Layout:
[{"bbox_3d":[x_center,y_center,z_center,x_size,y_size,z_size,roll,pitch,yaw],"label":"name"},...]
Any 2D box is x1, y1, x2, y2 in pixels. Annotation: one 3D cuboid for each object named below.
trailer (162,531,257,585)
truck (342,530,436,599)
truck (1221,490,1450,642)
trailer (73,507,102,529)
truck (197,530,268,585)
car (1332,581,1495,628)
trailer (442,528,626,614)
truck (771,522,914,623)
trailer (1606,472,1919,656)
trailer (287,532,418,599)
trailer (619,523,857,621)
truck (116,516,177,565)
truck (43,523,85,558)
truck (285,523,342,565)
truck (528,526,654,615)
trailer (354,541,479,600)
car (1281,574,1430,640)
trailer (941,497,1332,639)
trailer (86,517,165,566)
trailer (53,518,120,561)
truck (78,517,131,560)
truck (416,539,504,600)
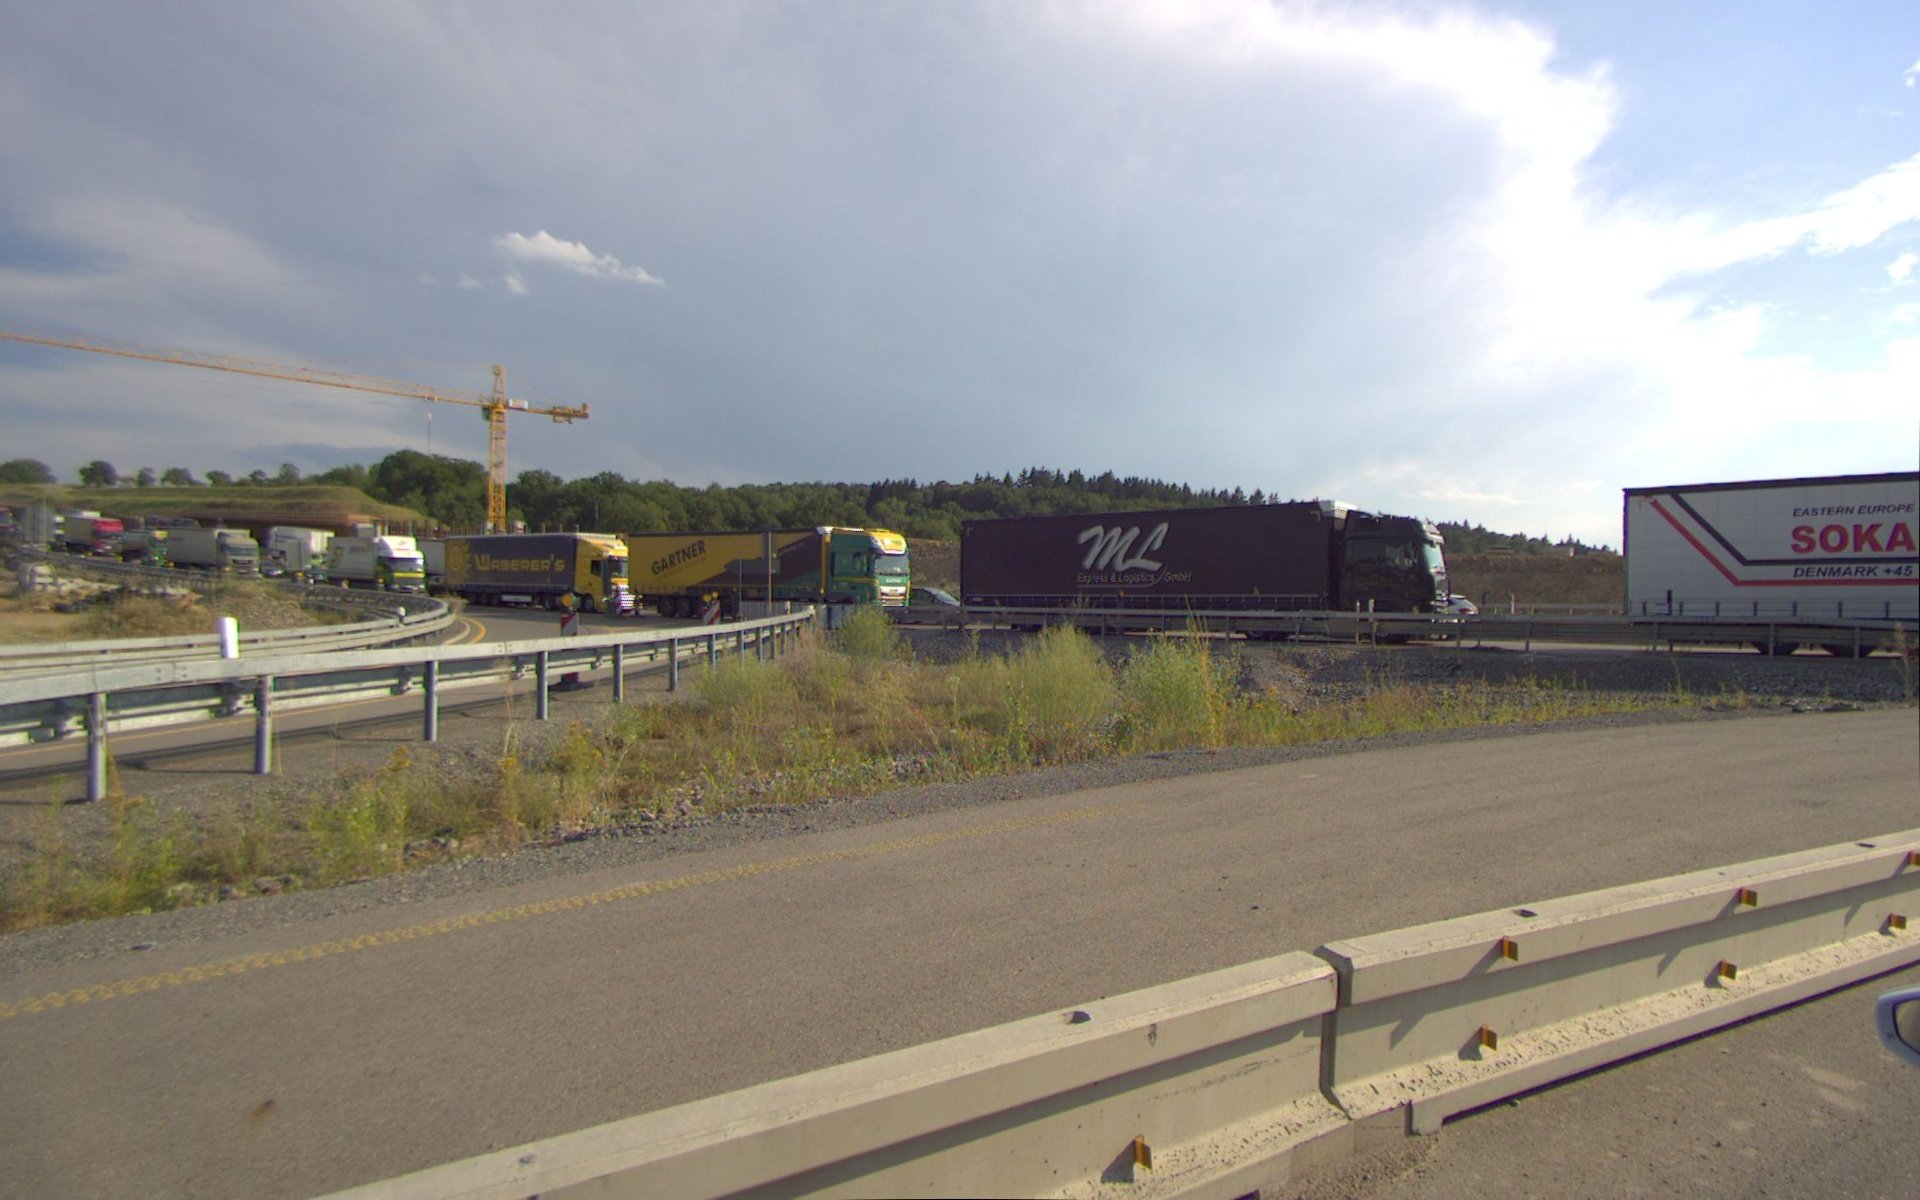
[{"bbox_3d":[-67.466,-3.619,90.108,14.026,4.371,3.102,1,-1,38],"label":"trailer"},{"bbox_3d":[-38.676,-2.306,67.937,6.787,4.371,3.102,1,-1,38],"label":"truck"},{"bbox_3d":[11.090,-0.944,29.891,5.915,4.114,2.479,1,1,37],"label":"truck"},{"bbox_3d":[-161.129,-15.078,185.461,10.999,3.560,1.964,1,-1,38],"label":"trailer"},{"bbox_3d":[-62.389,-3.539,86.089,6.787,4.371,3.102,1,-1,38],"label":"truck"},{"bbox_3d":[15.892,0.124,35.309,4.901,1.520,2.027,0,2,38],"label":"car"},{"bbox_3d":[-24.532,-1.516,57.240,14.026,4.371,3.102,1,-1,38],"label":"trailer"},{"bbox_3d":[-4.985,-1.105,42.236,5.915,3.953,2.479,1,0,37],"label":"truck"},{"bbox_3d":[22.072,-0.756,21.800,13.410,3.930,2.479,1,0,37],"label":"trailer"},{"bbox_3d":[-43.548,-2.339,71.699,14.026,4.371,3.102,1,-1,38],"label":"trailer"},{"bbox_3d":[-10.662,-1.230,46.585,13.753,4.011,2.479,1,0,37],"label":"trailer"},{"bbox_3d":[-79.343,-5.753,97.920,6.787,4.371,3.102,1,-1,38],"label":"truck"},{"bbox_3d":[-113.869,-7.468,127.602,8.421,4.054,2.513,1,-1,39],"label":"truck"},{"bbox_3d":[-80.370,-6.785,124.671,3.549,4.470,13.005,2,-1,-43],"label":"truck"},{"bbox_3d":[-19.695,-1.496,53.492,6.787,4.371,3.102,1,-1,38],"label":"truck"},{"bbox_3d":[-40.361,-2.109,74.266,13.259,4.050,2.856,1,0,37],"label":"trailer"},{"bbox_3d":[12.807,0.213,32.633,4.261,2.040,1.521,1,-1,36],"label":"car"},{"bbox_3d":[5.417,-1.007,34.200,13.412,4.116,2.479,1,0,37],"label":"trailer"},{"bbox_3d":[-85.389,-5.837,102.639,14.026,4.371,3.102,1,-1,38],"label":"trailer"},{"bbox_3d":[-102.411,-6.948,117.665,14.026,4.371,3.102,1,-1,38],"label":"trailer"},{"bbox_3d":[-95.938,-6.860,112.653,6.787,4.371,3.102,1,-1,38],"label":"truck"},{"bbox_3d":[-35.028,-2.065,70.277,6.518,4.050,2.847,1,0,37],"label":"truck"}]
